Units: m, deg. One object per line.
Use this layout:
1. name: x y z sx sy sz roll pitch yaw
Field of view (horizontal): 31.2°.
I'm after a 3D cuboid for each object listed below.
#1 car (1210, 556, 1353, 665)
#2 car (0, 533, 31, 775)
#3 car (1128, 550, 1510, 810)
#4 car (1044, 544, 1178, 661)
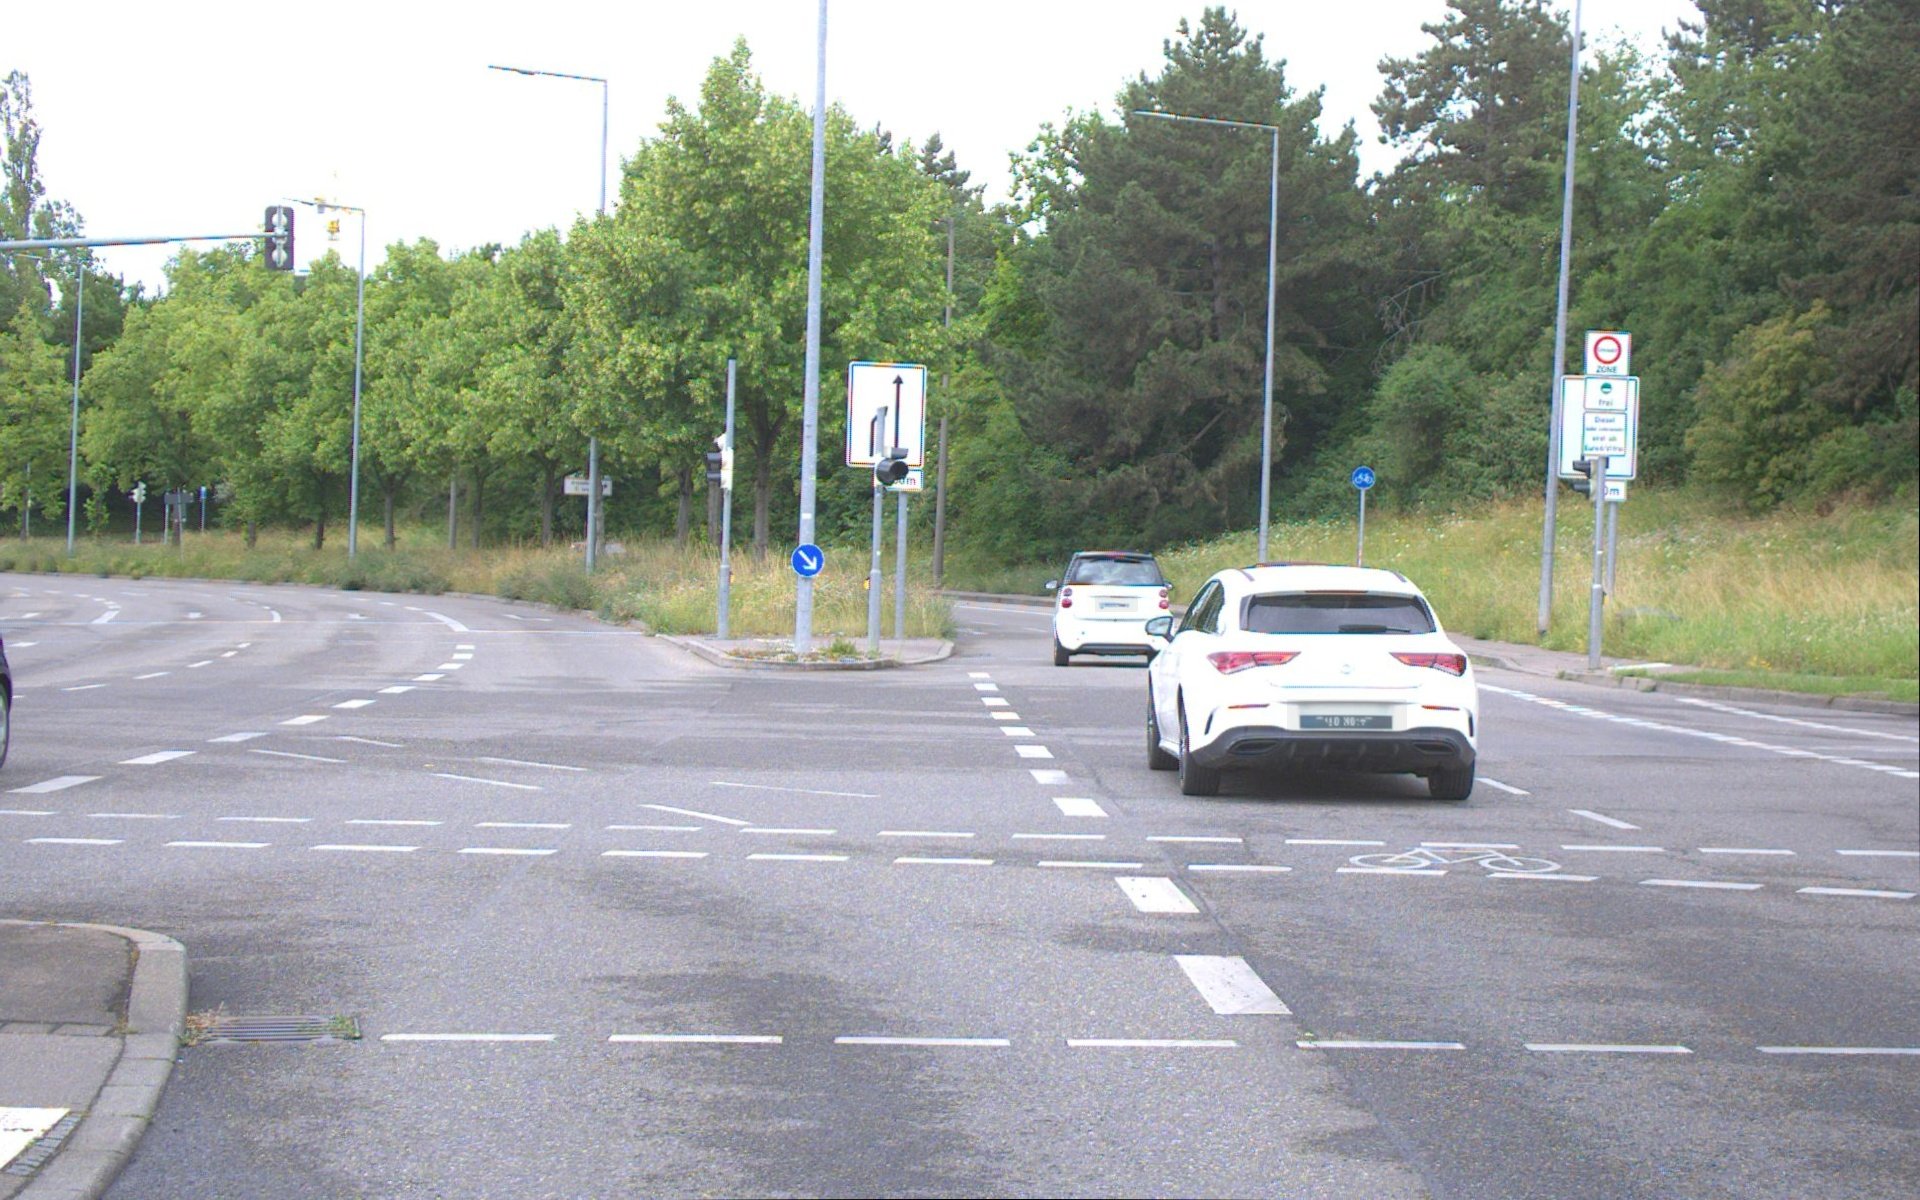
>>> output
1. car: 4.499 0.125 48.557 1.613 1.448 3.882 1 0 0
2. car: -6.817 0.335 20.212 1.736 1.503 3.660 1 0 -1
3. car: 2.225 0.452 22.495 1.844 1.501 4.531 1 0 -2
4. car: 2.008 0.021 46.214 1.592 1.511 2.767 1 0 -1
